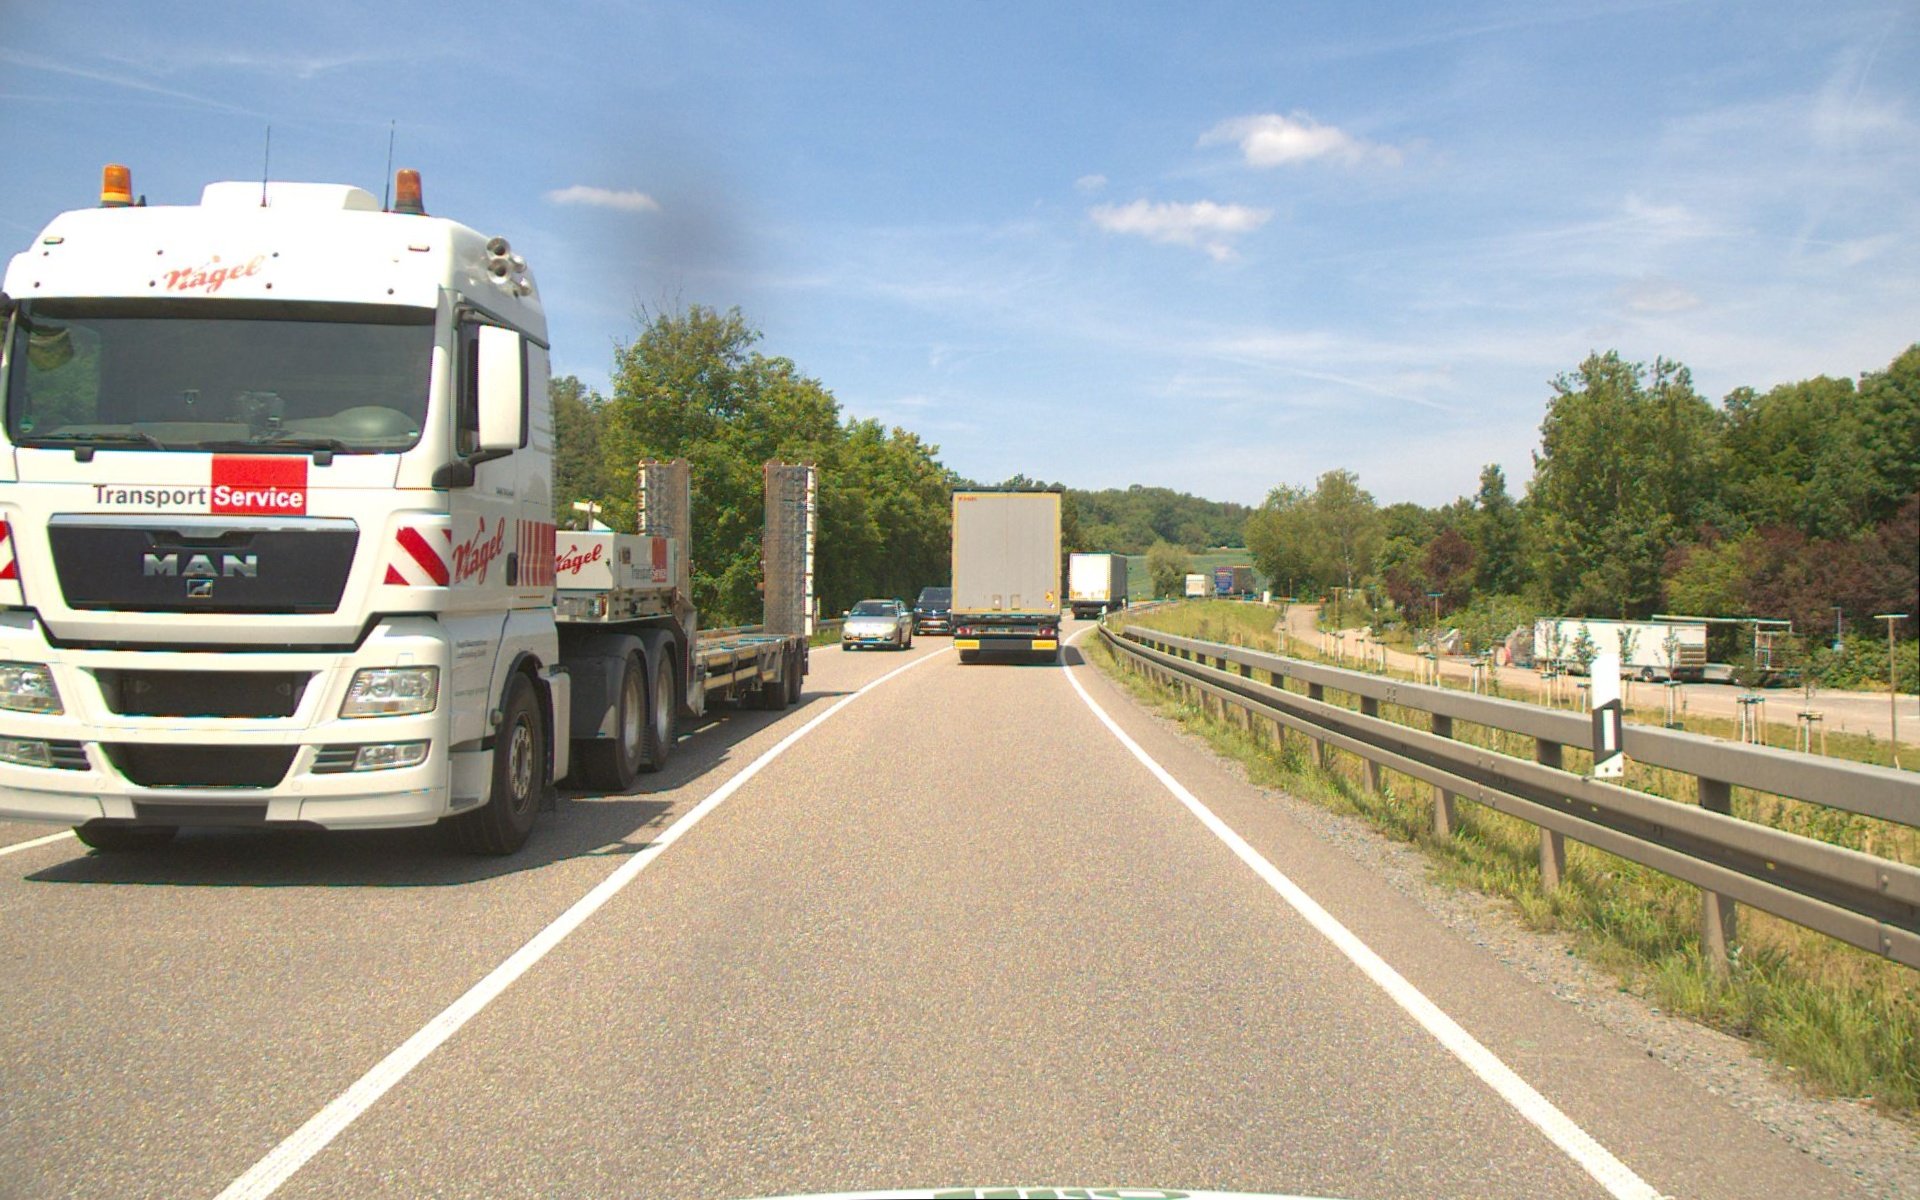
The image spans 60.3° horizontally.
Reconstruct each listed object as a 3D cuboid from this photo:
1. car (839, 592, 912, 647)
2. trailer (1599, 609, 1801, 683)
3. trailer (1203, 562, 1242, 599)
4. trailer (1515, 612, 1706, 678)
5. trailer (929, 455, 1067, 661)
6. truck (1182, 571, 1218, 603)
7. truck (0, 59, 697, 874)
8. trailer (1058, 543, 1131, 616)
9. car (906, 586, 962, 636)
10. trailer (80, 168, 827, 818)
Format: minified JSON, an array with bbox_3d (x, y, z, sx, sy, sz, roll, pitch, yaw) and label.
[{"bbox_3d":[-2.434,0.536,48.350,1.731,1.520,4.171,1,0,2],"label":"car"},{"bbox_3d":[41.360,2.456,93.114,2.681,3.669,11.815,1,0,-22],"label":"trailer"},{"bbox_3d":[33.212,-2.387,209.069,3.570,4.337,12.203,0,-1,15],"label":"trailer"},{"bbox_3d":[37.193,2.472,95.264,2.683,3.386,11.805,0,1,-24],"label":"trailer"},{"bbox_3d":[1.095,-0.999,43.984,3.053,4.578,13.890,1,0,2],"label":"trailer"},{"bbox_3d":[27.219,-1.381,187.318,3.154,3.424,11.884,0,0,13],"label":"truck"},{"bbox_3d":[-3.936,-0.670,11.495,3.054,4.027,6.622,0,0,1],"label":"truck"},{"bbox_3d":[8.761,-1.172,106.057,3.293,4.392,13.875,0,0,10],"label":"trailer"},{"bbox_3d":[-1.014,0.424,66.113,1.881,1.892,5.177,1,0,3],"label":"car"},{"bbox_3d":[-3.787,-0.684,18.010,3.054,4.049,15.359,0,0,1],"label":"trailer"}]
